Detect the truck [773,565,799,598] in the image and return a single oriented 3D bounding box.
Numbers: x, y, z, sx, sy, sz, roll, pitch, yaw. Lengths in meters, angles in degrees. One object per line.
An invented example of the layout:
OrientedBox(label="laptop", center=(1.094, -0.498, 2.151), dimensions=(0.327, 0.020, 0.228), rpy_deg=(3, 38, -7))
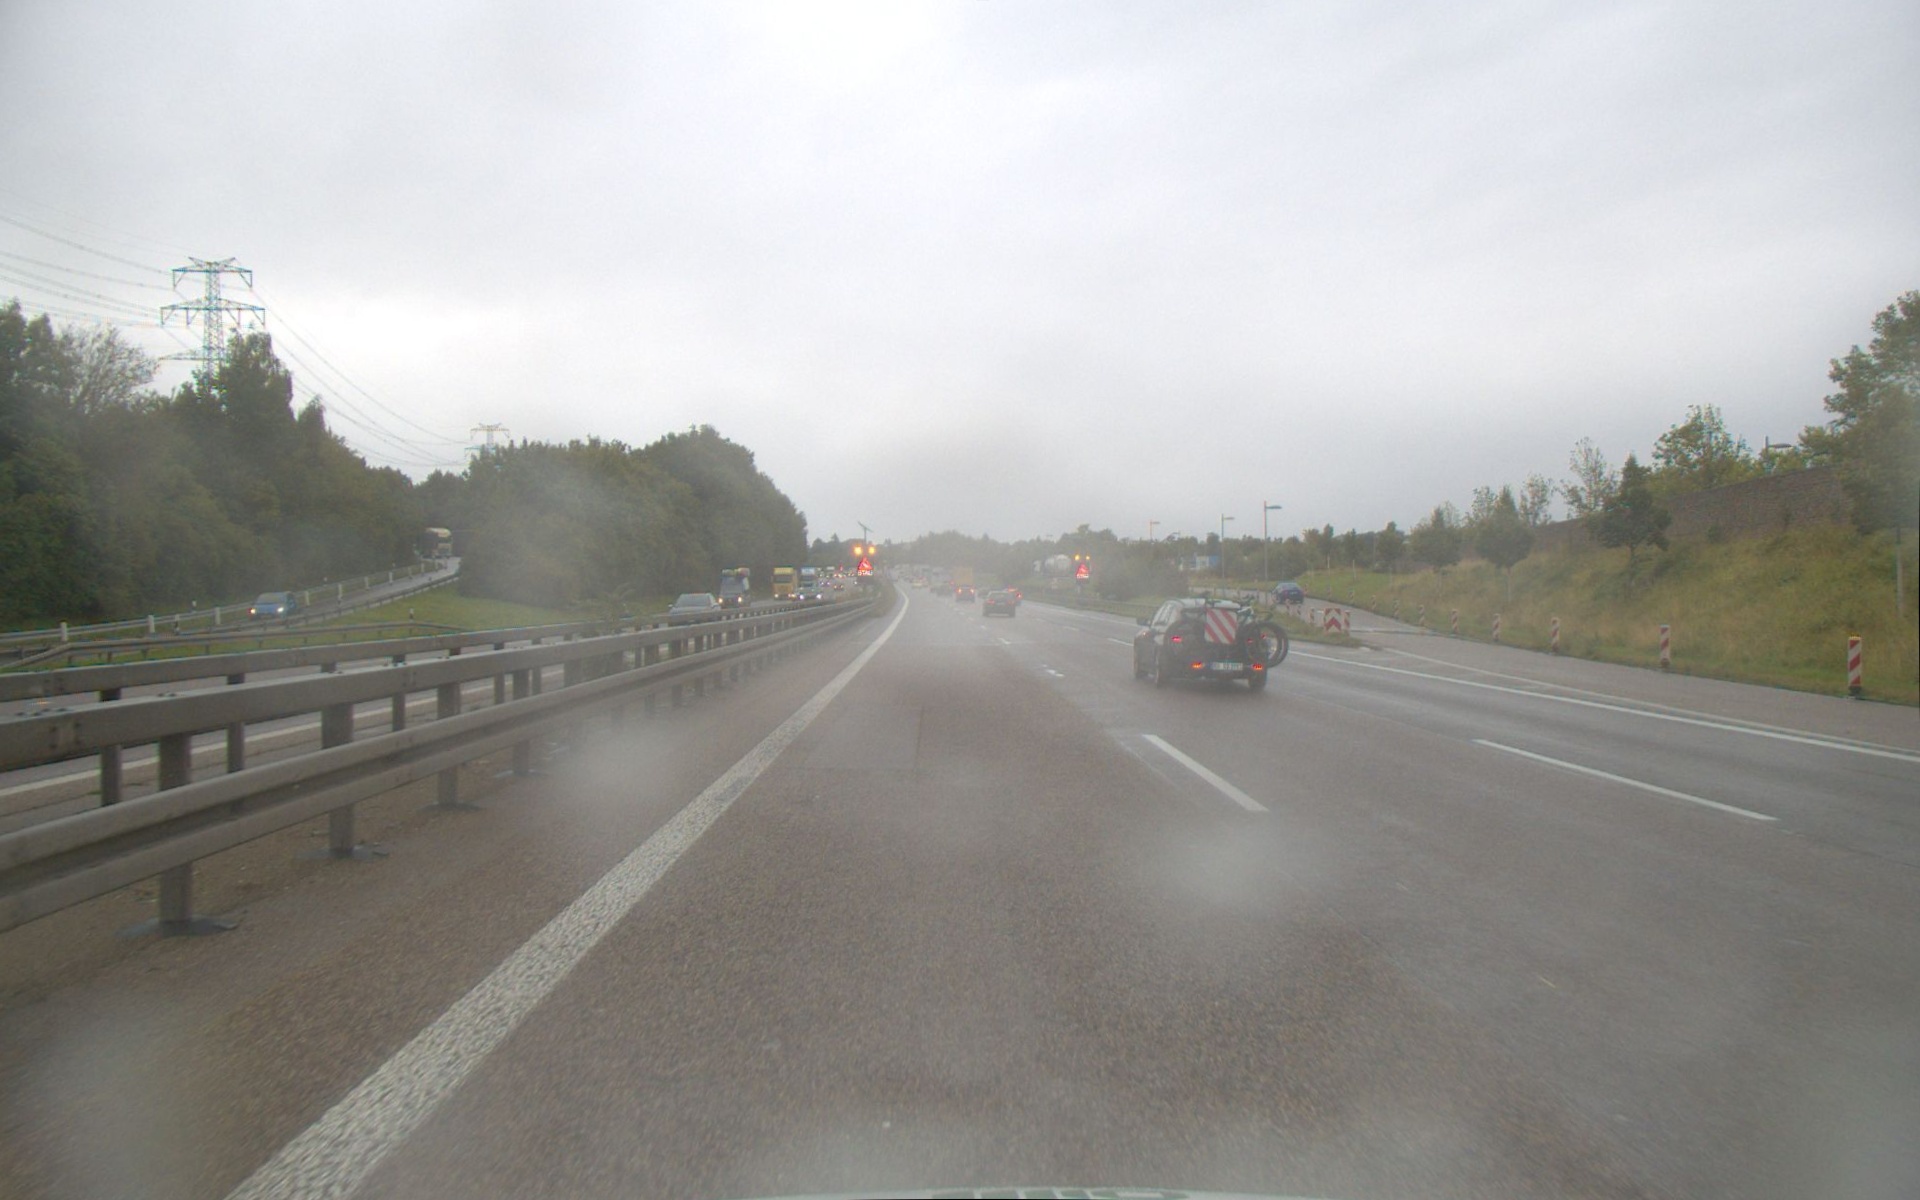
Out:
OrientedBox(label="truck", center=(-22.208, -2.355, 211.272), dimensions=(2.706, 4.126, 6.155), rpy_deg=(-2, 1, -2))

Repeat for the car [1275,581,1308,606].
OrientedBox(label="car", center=(23.886, -0.501, 119.280), dimensions=(1.882, 1.739, 4.002), rpy_deg=(-1, 0, 4))

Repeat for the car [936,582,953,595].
OrientedBox(label="car", center=(-1.975, -1.492, 211.493), dimensions=(1.953, 1.657, 3.999), rpy_deg=(-1, 1, -2))

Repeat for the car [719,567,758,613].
OrientedBox(label="car", center=(-17.122, -0.787, 128.079), dimensions=(2.208, 3.385, 6.174), rpy_deg=(-2, 0, -1))

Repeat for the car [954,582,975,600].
OrientedBox(label="car", center=(0.426, -0.902, 162.363), dimensions=(1.953, 1.657, 3.999), rpy_deg=(-1, 1, -2))

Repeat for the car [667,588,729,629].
OrientedBox(label="car", center=(-10.460, 0.313, 66.304), dimensions=(1.785, 1.538, 4.789), rpy_deg=(-1, 0, -1))

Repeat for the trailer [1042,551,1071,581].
OrientedBox(label="trailer", center=(14.097, -4.877, 241.337), dimensions=(2.925, 4.228, 12.951), rpy_deg=(-1, 1, -2))

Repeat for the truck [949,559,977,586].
OrientedBox(label="truck", center=(0.484, -4.328, 260.405), dimensions=(3.845, 4.051, 12.235), rpy_deg=(-1, 1, -2))

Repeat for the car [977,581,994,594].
OrientedBox(label="car", center=(3.228, -1.585, 213.134), dimensions=(1.953, 1.657, 3.999), rpy_deg=(-1, 1, -2))

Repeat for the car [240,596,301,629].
OrientedBox(label="car", center=(-34.484, 0.611, 82.824), dimensions=(1.932, 1.570, 3.991), rpy_deg=(-1, 1, -10))

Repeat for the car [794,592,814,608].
OrientedBox(label="car", center=(-17.267, -0.031, 183.217), dimensions=(1.837, 1.631, 4.513), rpy_deg=(-2, 1, -2))

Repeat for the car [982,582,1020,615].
OrientedBox(label="car", center=(2.334, -0.097, 95.325), dimensions=(1.953, 1.791, 3.999), rpy_deg=(-1, 1, -2))

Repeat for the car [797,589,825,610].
OrientedBox(label="car", center=(-12.364, -0.044, 137.270), dimensions=(1.885, 1.685, 4.789), rpy_deg=(-2, 0, -1))

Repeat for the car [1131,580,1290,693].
OrientedBox(label="car", center=(4.113, 0.570, 28.027), dimensions=(2.015, 1.700, 5.523), rpy_deg=(1, 0, 2))

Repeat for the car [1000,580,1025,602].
OrientedBox(label="car", center=(4.621, -0.805, 146.410), dimensions=(1.953, 1.791, 3.999), rpy_deg=(2, 1, -2))

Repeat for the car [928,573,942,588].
OrientedBox(label="car", center=(-3.941, -3.094, 260.571), dimensions=(1.953, 2.243, 3.999), rpy_deg=(-1, 1, -2))
